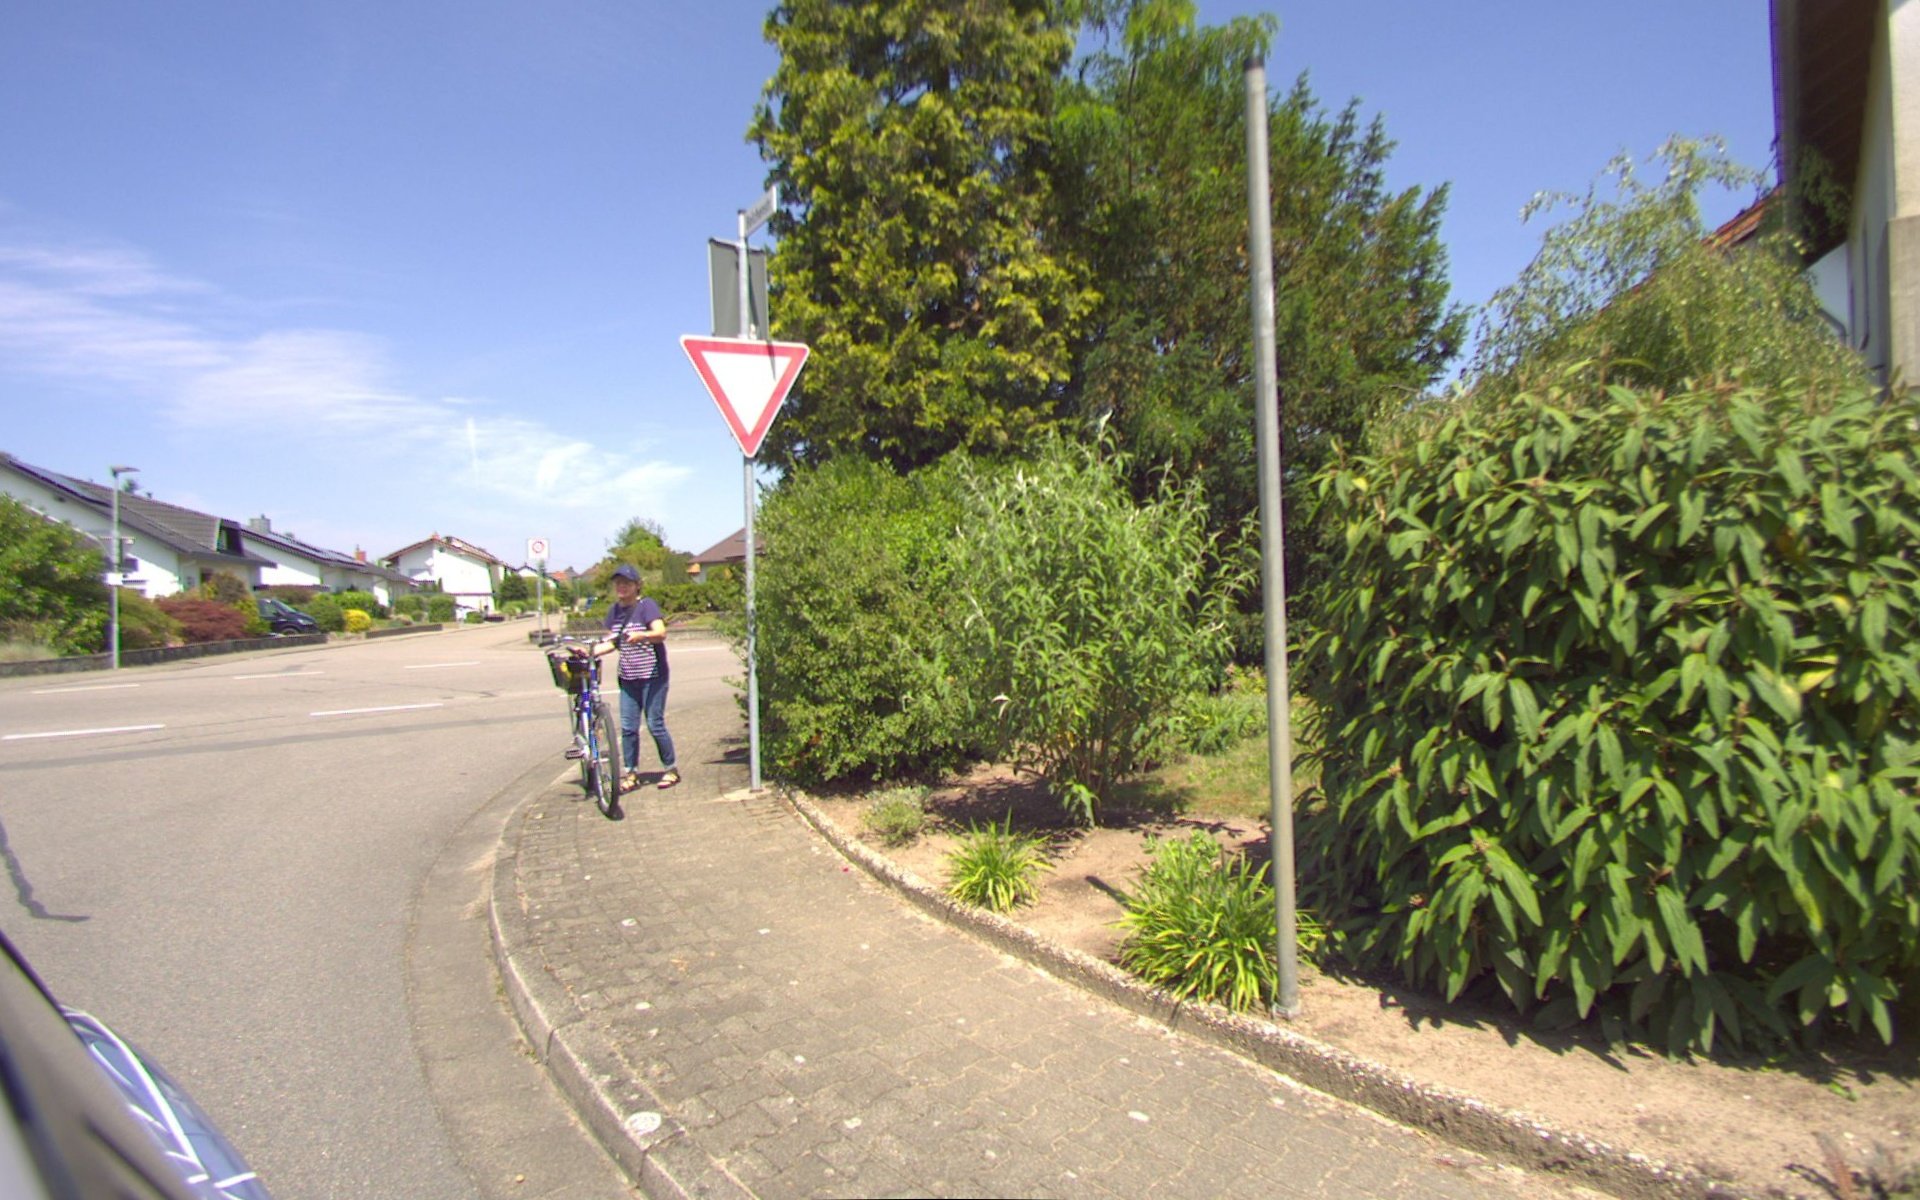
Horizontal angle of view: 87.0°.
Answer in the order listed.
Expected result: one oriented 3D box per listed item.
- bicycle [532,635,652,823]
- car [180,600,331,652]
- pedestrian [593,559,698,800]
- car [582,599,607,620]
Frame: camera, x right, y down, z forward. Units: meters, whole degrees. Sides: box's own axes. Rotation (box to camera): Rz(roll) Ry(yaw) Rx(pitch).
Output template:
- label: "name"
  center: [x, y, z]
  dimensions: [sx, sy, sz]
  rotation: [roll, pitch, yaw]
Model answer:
- label: "bicycle"
  center: [-2.411, 0.747, 6.509]
  dimensions: [0.435, 0.971, 1.854]
  rotation: [-2, 1, -28]
- label: "car"
  center: [-29.743, 1.076, 42.917]
  dimensions: [4.881, 1.929, 1.935]
  rotation: [-2, 0, -23]
- label: "pedestrian"
  center: [-2.113, 0.500, 6.777]
  dimensions: [0.496, 1.512, 0.614]
  rotation: [-2, 1, -31]
- label: "car"
  center: [-34.586, 0.852, 95.789]
  dimensions: [1.797, 1.896, 4.011]
  rotation: [-2, 1, -15]
